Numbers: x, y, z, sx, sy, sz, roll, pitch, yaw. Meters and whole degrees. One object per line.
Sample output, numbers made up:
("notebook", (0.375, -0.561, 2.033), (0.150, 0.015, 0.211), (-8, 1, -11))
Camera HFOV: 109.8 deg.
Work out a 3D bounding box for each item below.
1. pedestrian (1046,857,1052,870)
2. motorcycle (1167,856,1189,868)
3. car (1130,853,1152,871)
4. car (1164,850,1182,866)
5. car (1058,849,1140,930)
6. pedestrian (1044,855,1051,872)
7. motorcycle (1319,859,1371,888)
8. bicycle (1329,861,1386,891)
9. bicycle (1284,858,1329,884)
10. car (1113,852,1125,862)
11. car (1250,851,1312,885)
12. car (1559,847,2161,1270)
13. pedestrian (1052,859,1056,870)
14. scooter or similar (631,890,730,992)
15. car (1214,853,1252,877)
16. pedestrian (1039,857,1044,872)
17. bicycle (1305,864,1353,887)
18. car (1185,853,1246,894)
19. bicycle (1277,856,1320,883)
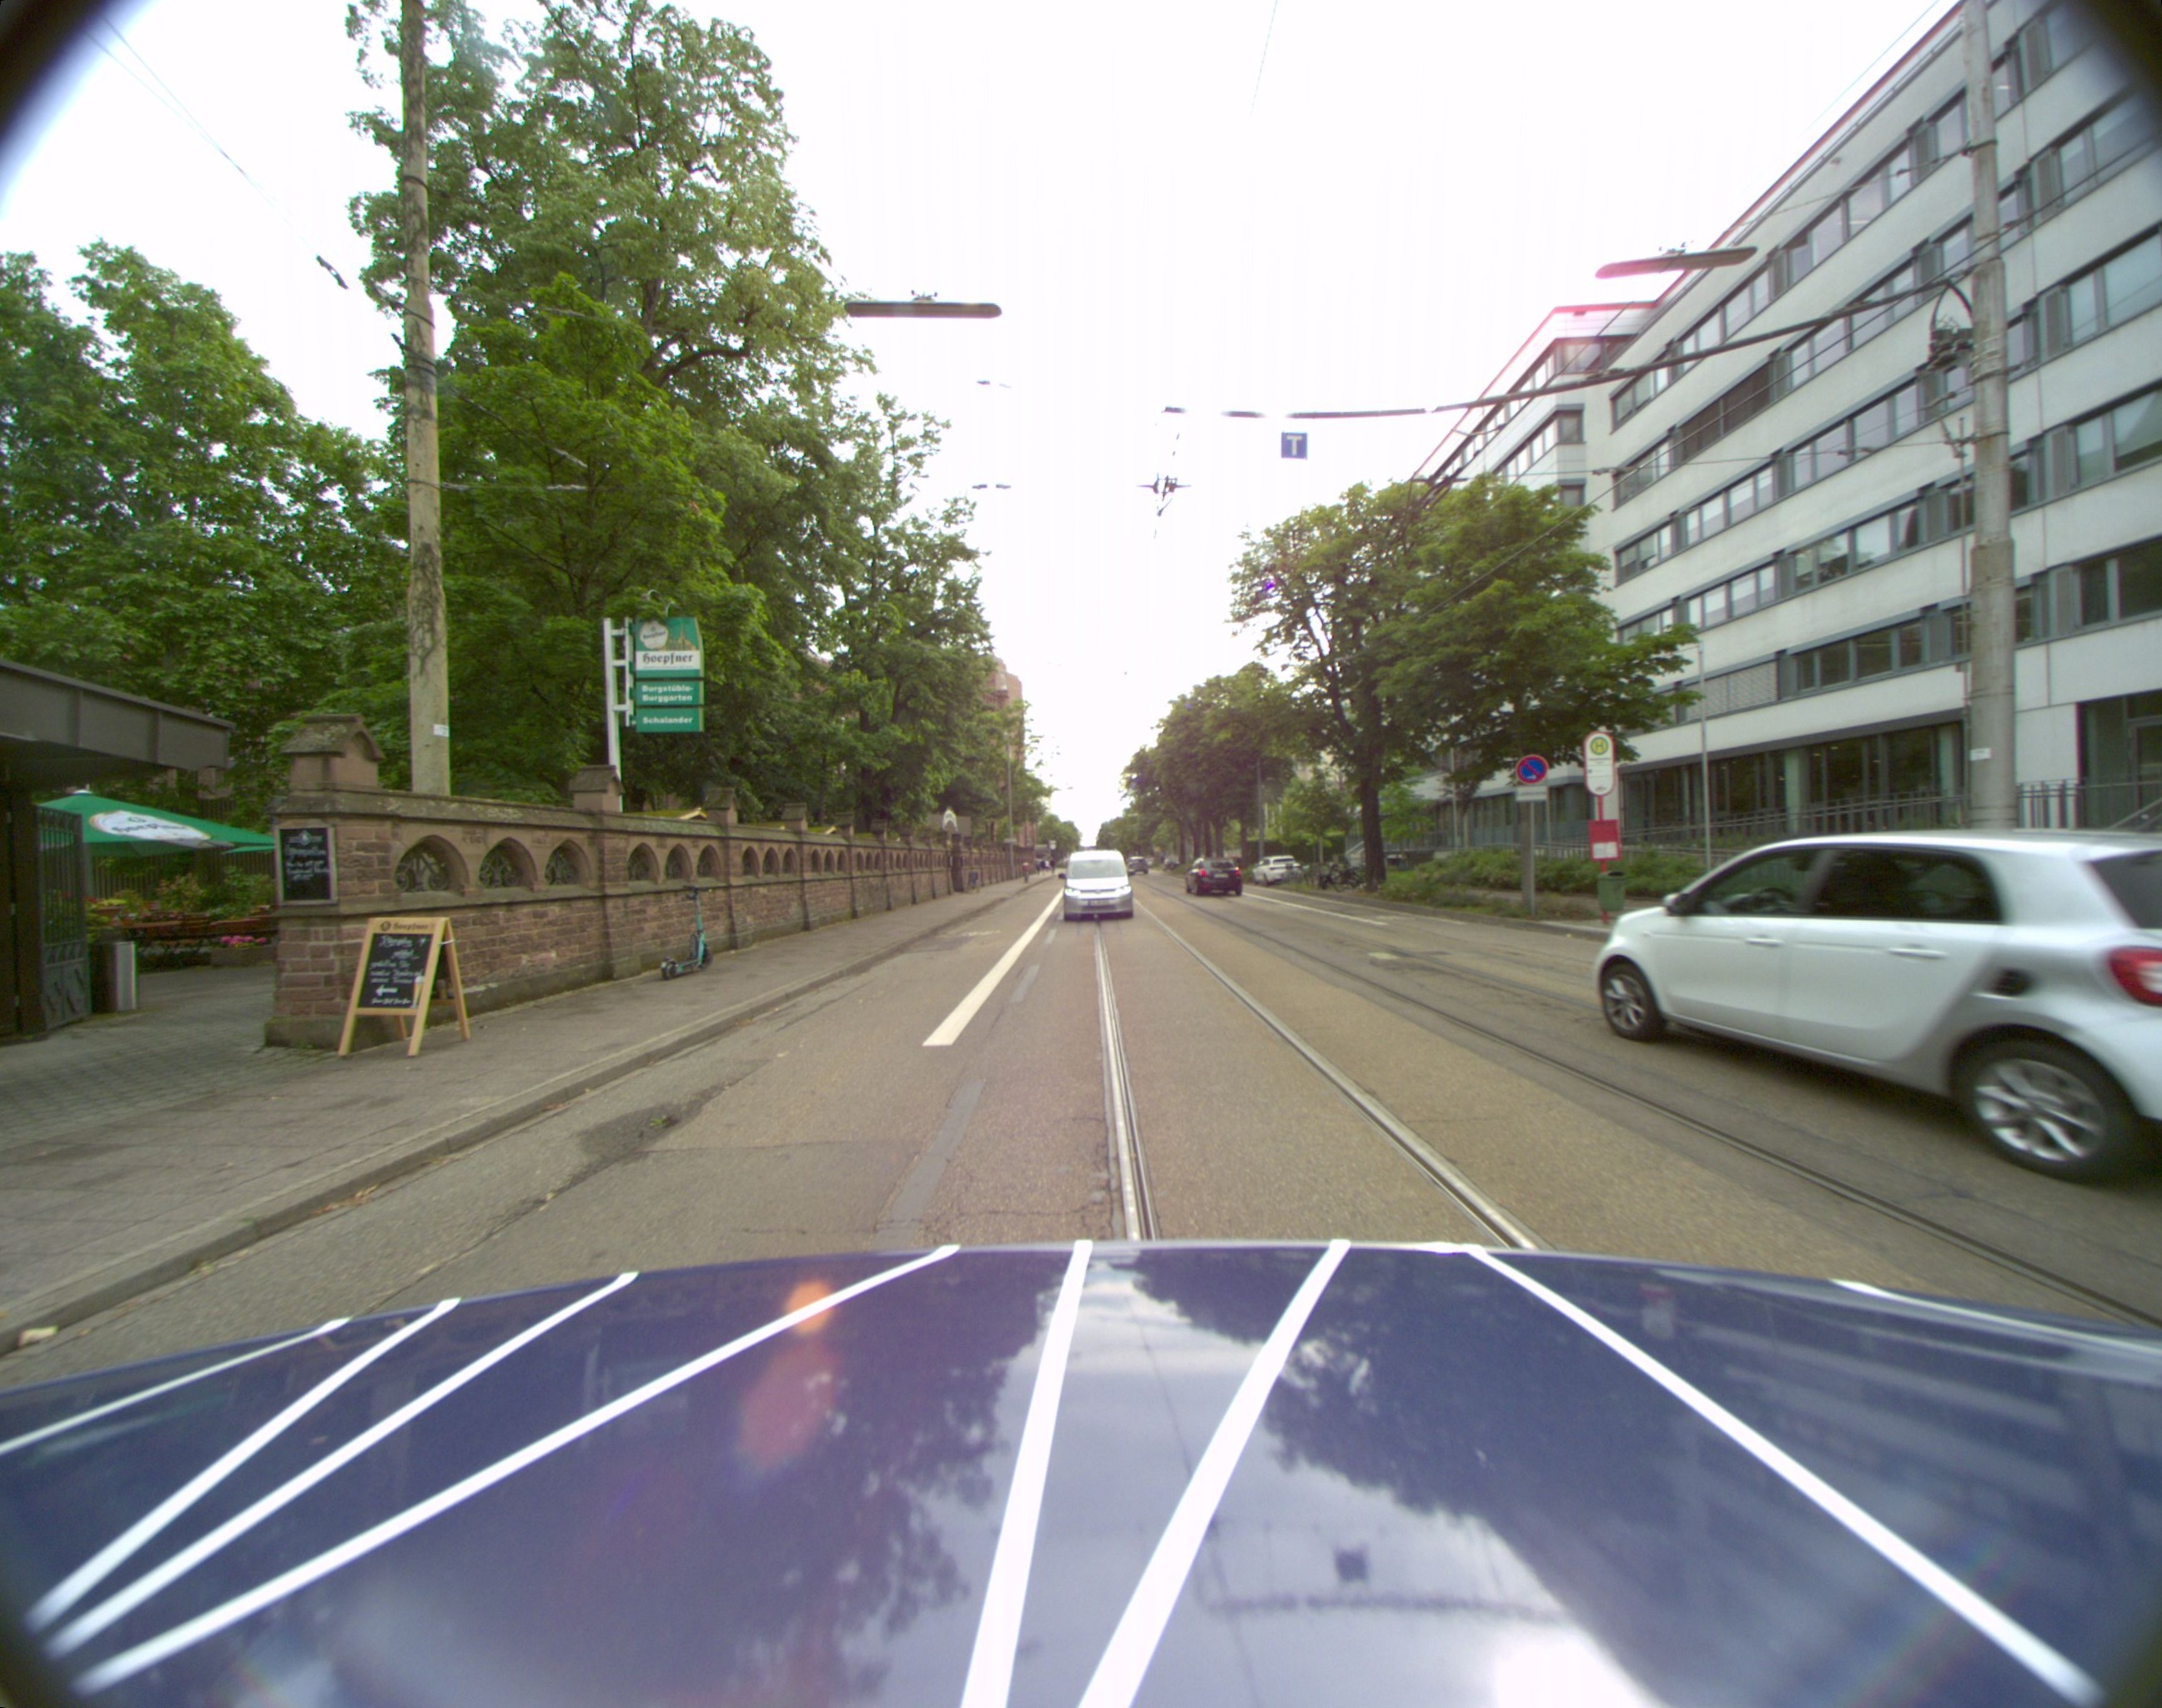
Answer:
("pedestrian", (-4.430, 1.294, 105.377), (0.669, 1.703, 0.997), (2, 1, -2))
("motorcycle", (10.306, 0.862, 80.708), (2.128, 1.096, 0.776), (-3, 1, 42))
("car", (5.850, 0.760, 74.315), (1.846, 1.644, 4.389), (0, 0, 1))
("car", (10.837, 0.441, 89.501), (1.815, 1.699, 4.001), (-3, 1, 4))
("car", (0.472, 0.823, 20.531), (1.850, 1.797, 4.936), (-3, 1, 1))
("pedestrian", (-3.715, 1.013, 83.386), (0.723, 1.834, 0.897), (0, 1, -2))
("motorcycle", (10.529, 0.753, 30.309), (1.793, 1.044, 0.732), (-3, 1, -6))
("bicycle", (10.202, 0.808, 28.077), (1.834, 1.047, 0.741), (-2, 0, -7))
("bicycle", (10.179, 0.767, 34.320), (1.811, 1.094, 0.632), (-1, 1, -5))
("car", (6.247, 0.488, 126.204), (1.745, 1.490, 4.261), (-2, 0, -1))
("car", (10.004, 0.665, 38.436), (1.886, 1.485, 4.753), (-3, 0, 1))
("car", (4.841, 0.745, 4.438), (1.708, 1.521, 3.741), (-2, 1, 0))
("pedestrian", (-3.770, 1.410, 105.465), (0.529, 1.548, 0.489), (2, 1, -2))
("scooter or similar", (-5.483, 1.154, 10.485), (0.578, 1.232, 1.410), (2, 1, 1))
("car", (10.312, 0.699, 51.793), (1.632, 1.439, 3.756), (-5, 1, -2))
("pedestrian", (-4.361, 1.101, 83.304), (0.559, 1.646, 0.771), (0, 1, -2))
("bicycle", (10.400, 0.899, 31.926), (1.811, 0.894, 0.632), (-1, 1, -5))
("car", (5.245, 0.753, 30.192), (1.752, 1.477, 4.063), (-1, -1, 1))
("bicycle", (10.104, 0.716, 35.345), (1.868, 1.180, 0.632), (-1, 1, 5))
